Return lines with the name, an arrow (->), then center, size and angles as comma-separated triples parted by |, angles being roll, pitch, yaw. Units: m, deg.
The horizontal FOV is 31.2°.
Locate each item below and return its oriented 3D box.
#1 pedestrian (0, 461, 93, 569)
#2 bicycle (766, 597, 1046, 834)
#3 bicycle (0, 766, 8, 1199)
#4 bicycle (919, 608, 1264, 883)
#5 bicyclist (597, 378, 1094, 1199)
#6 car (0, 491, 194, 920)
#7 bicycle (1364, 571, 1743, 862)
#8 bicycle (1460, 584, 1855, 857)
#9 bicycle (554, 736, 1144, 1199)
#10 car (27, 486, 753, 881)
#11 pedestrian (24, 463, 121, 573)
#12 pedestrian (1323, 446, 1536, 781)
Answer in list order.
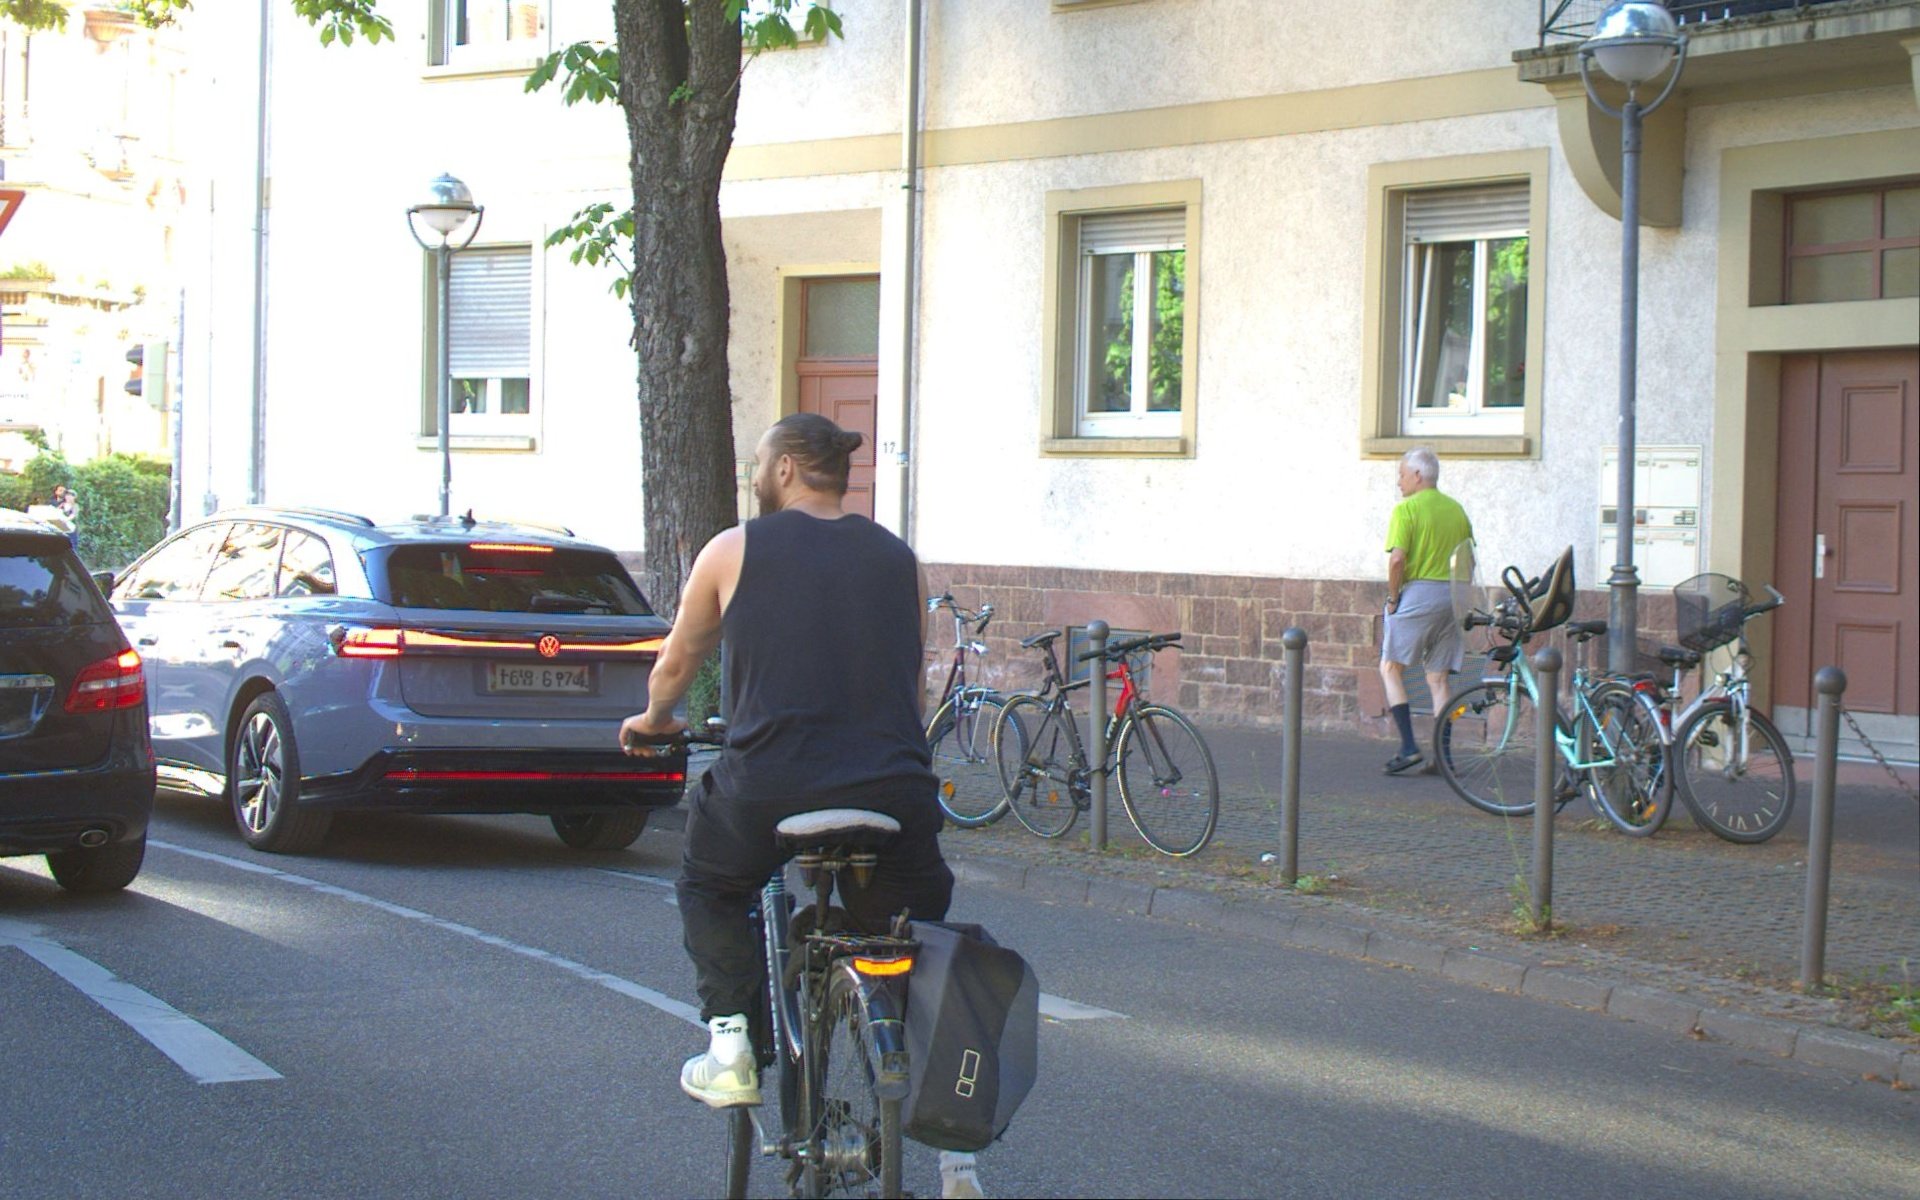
pedestrian -> -17.031, -1.579, 64.069 | 1.159, 1.955, 1.386 | 2, 1, 13
bicycle -> -0.298, 0.525, 16.612 | 0.520, 0.995, 2.192 | 1, 2, -24
bicycle -> -2.016, 0.870, 5.899 | 0.674, 1.050, 2.062 | 1, 0, -14
bicycle -> 0.547, 0.606, 15.253 | 0.616, 1.054, 1.929 | -1, 3, -29
bicyclist -> -0.252, 0.428, 6.774 | 0.752, 1.676, 0.913 | 1, 1, -15
car -> -4.736, 0.339, 13.859 | 1.813, 1.538, 3.958 | -2, 2, -35
bicycle -> 2.666, 0.488, 15.688 | 0.494, 1.168, 2.117 | -3, 3, -28
bicycle -> 3.190, 0.518, 15.961 | 0.582, 1.110, 2.117 | 0, 2, -27
bicycle -> -0.298, 0.853, 6.904 | 0.737, 1.008, 2.062 | -1, 2, -15
car -> -2.813, 0.298, 16.227 | 1.892, 1.572, 4.000 | 1, 2, -33
pedestrian -> -16.247, -1.505, 62.965 | 1.159, 1.955, 1.386 | 2, 1, 13
pedestrian -> 2.584, 0.054, 18.913 | 0.995, 1.788, 0.659 | -2, 3, -43
